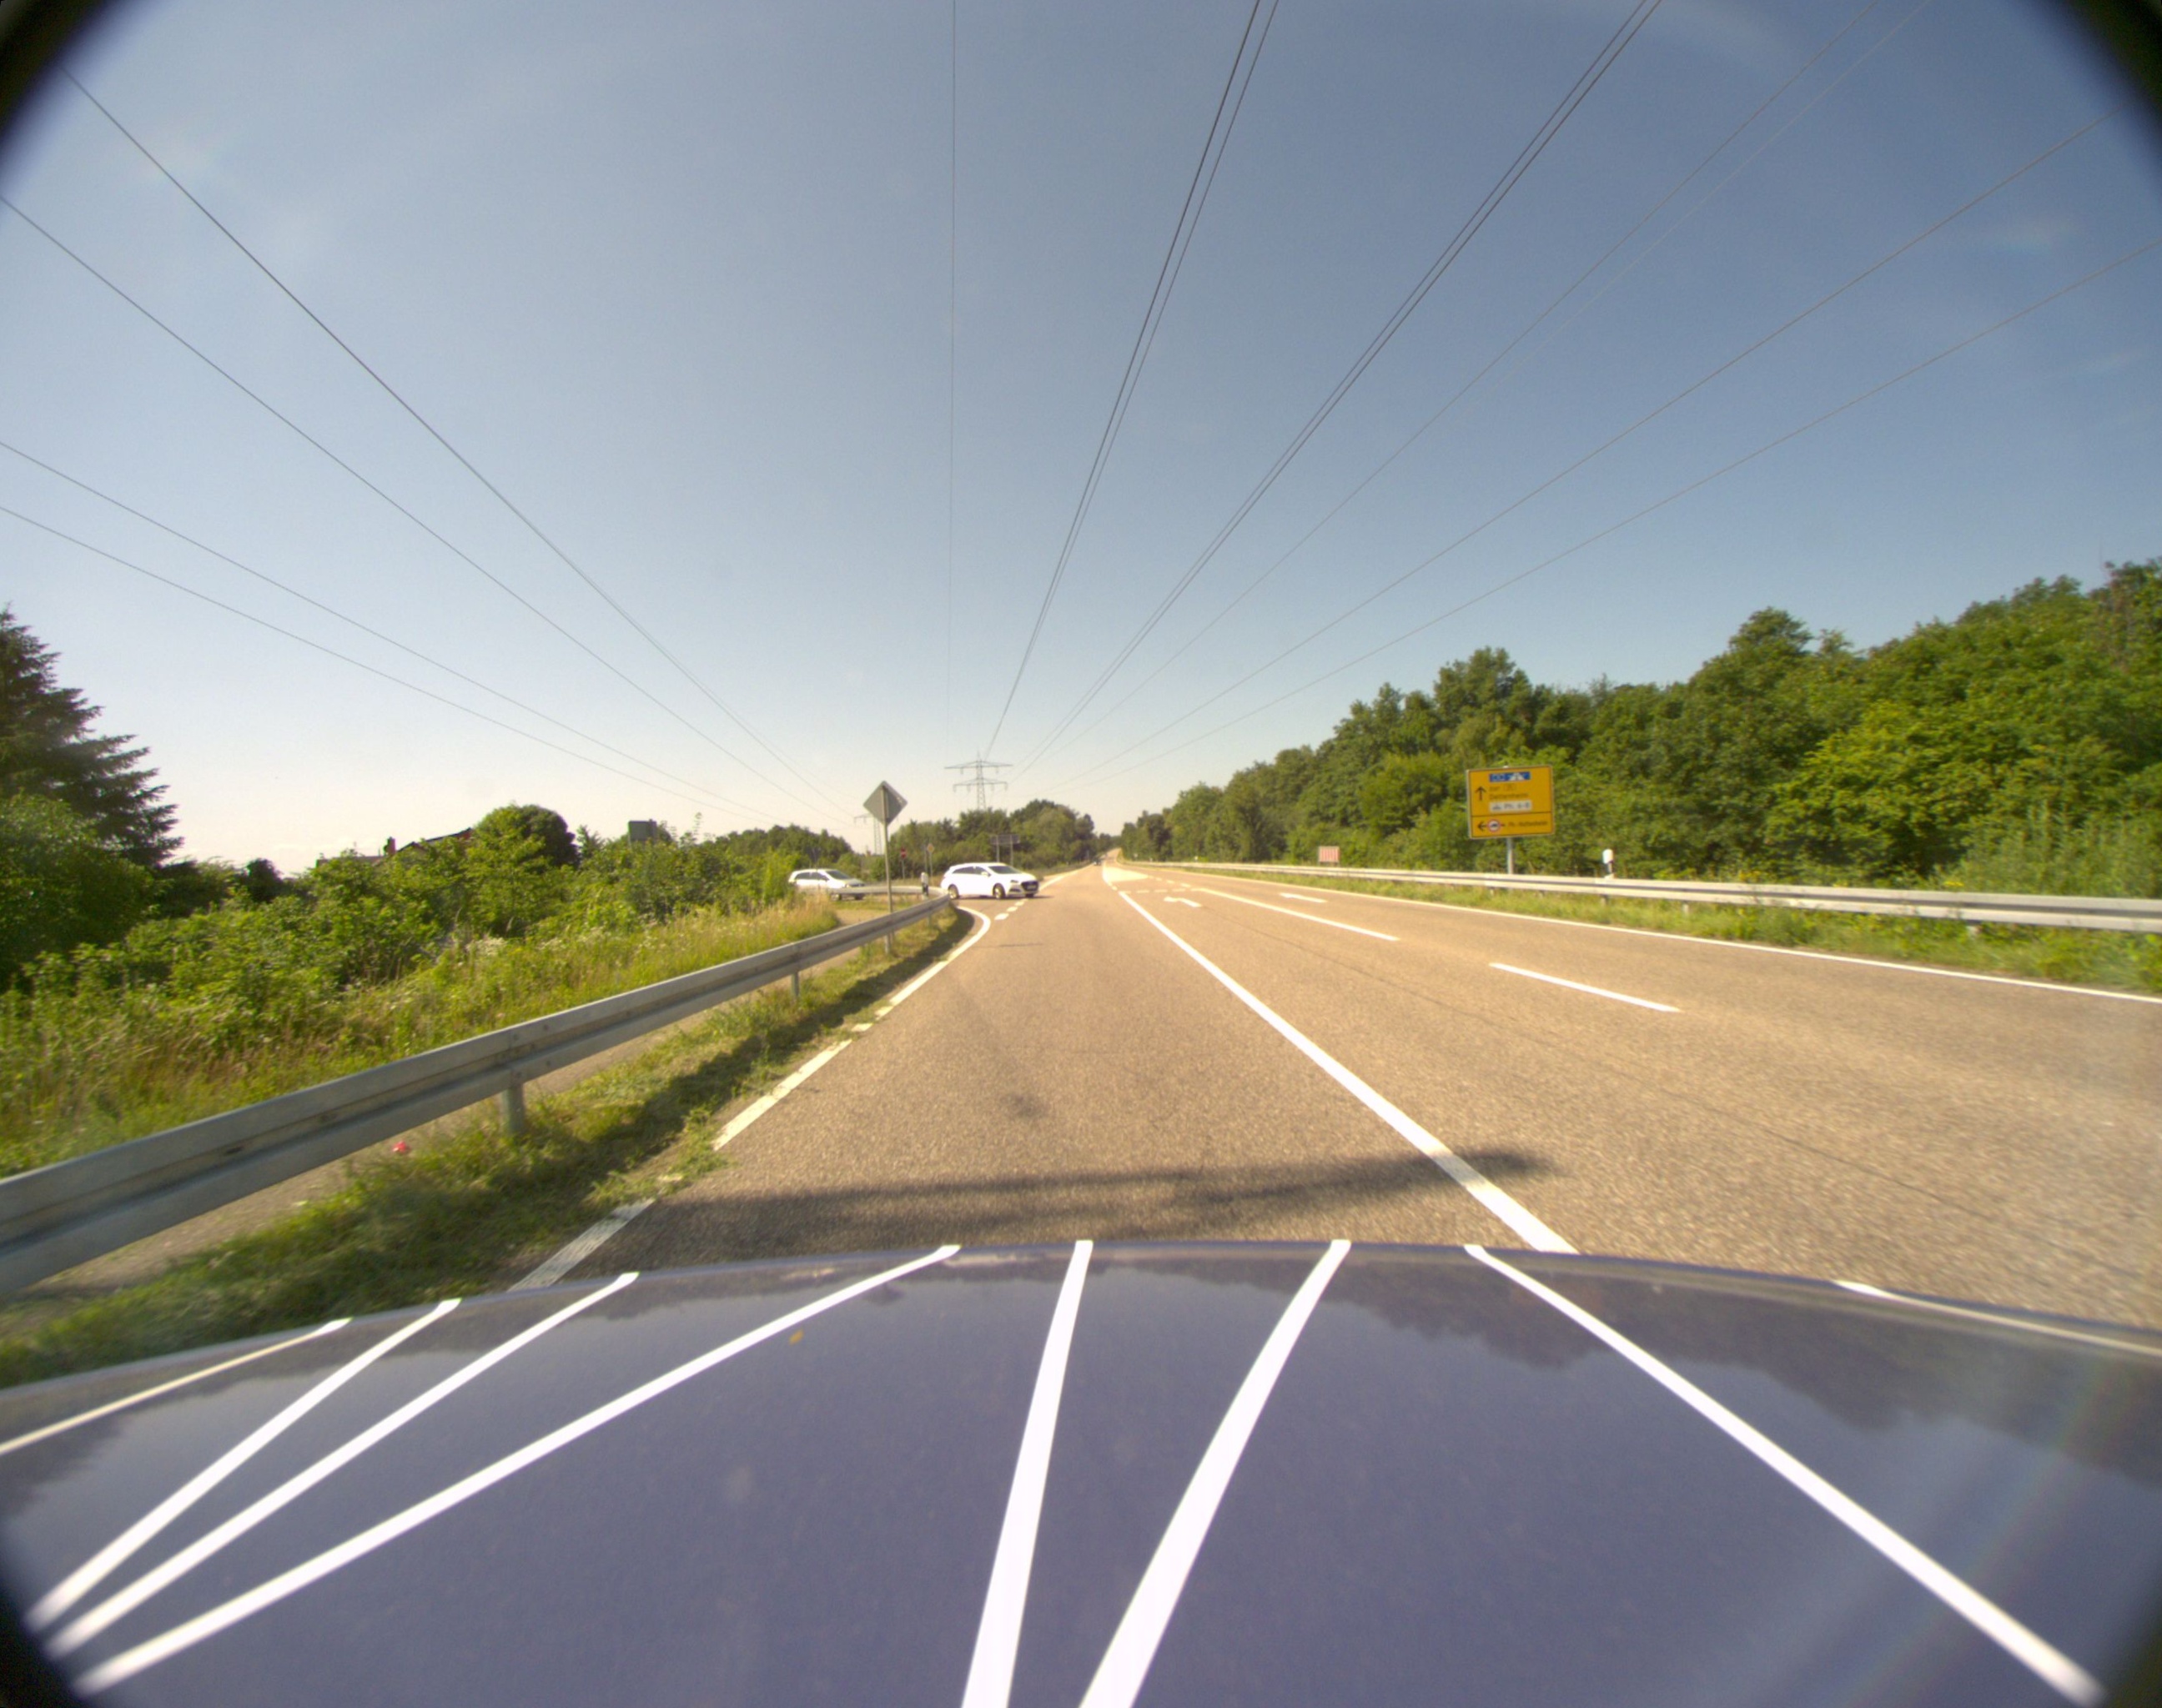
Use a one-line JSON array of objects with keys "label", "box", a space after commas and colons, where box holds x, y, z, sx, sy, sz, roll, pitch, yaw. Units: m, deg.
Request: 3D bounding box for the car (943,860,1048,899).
[{"label": "car", "box": [-3.592, 1.058, 31.376, 4.461, 1.471, 1.688, -2, 0, 41]}]

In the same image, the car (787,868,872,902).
[{"label": "car", "box": [-12.062, 1.481, 36.453, 3.653, 1.460, 1.552, -2, 0, 21]}]

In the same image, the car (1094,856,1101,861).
[{"label": "car", "box": [3.974, 1.018, 180.664, 1.511, 1.237, 3.074, -2, 0, 1]}]
